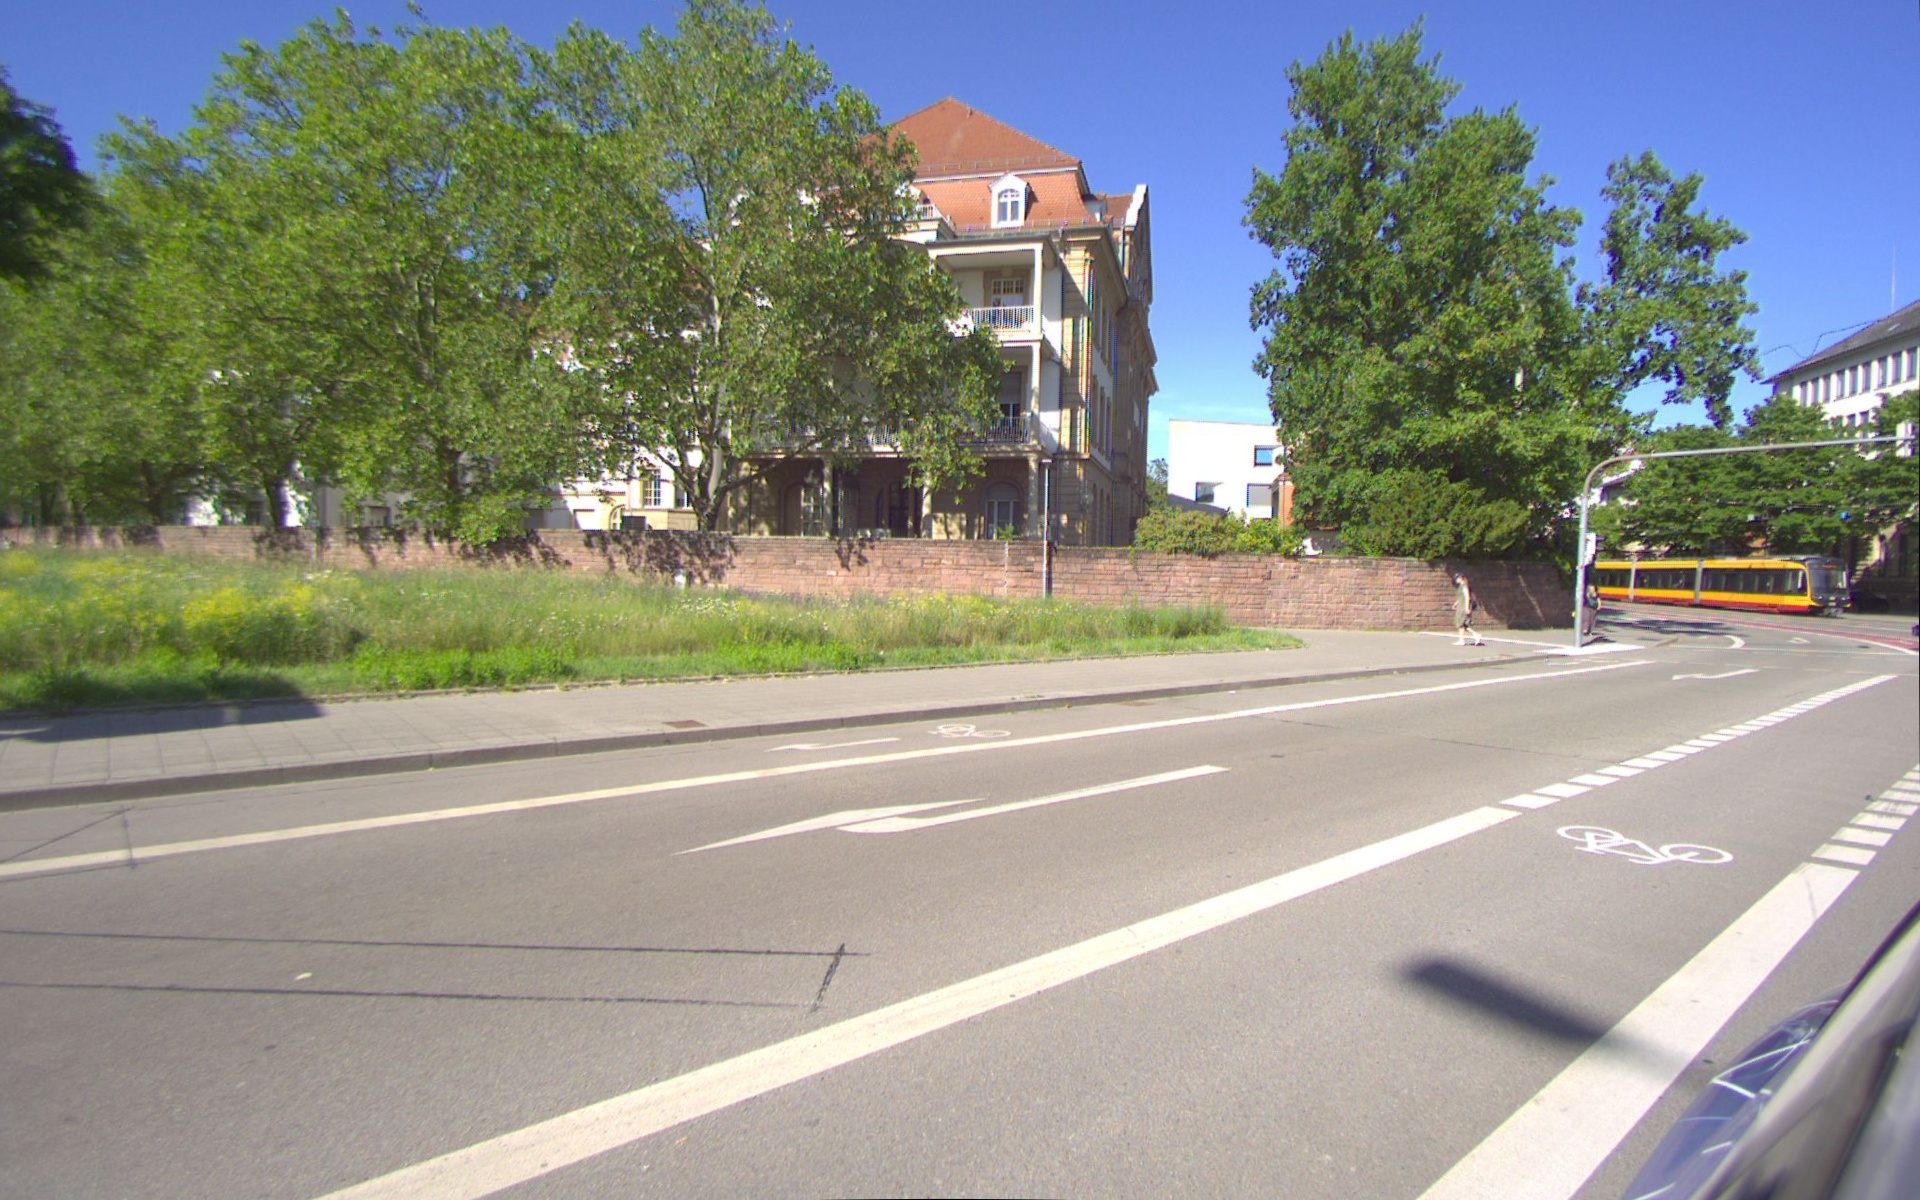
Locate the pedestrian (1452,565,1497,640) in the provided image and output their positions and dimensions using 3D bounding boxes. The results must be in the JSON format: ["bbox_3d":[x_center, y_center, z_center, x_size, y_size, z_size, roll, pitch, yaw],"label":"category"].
[{"bbox_3d":[13.140,0.045,25.865,0.619,1.881,0.787,0,2,-37],"label":"pedestrian"}]

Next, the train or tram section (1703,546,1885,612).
[{"bbox_3d":[50.979,-1.387,62.625,2.898,3.563,13.783,2,2,14],"label":"train or tram section"}]

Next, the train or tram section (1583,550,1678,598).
[{"bbox_3d":[56.776,-2.244,86.139,2.898,3.728,11.630,2,2,14],"label":"train or tram section"}]

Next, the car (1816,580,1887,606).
[{"bbox_3d":[60.715,-0.505,69.011,1.806,1.615,3.988,2,2,11],"label":"car"}]

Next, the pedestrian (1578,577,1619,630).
[{"bbox_3d":[20.920,0.096,33.175,0.618,1.687,0.933,0,2,-35],"label":"pedestrian"}]

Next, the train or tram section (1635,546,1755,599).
[{"bbox_3d":[54.035,-2.089,74.861,2.898,3.563,11.630,2,2,14],"label":"train or tram section"}]
